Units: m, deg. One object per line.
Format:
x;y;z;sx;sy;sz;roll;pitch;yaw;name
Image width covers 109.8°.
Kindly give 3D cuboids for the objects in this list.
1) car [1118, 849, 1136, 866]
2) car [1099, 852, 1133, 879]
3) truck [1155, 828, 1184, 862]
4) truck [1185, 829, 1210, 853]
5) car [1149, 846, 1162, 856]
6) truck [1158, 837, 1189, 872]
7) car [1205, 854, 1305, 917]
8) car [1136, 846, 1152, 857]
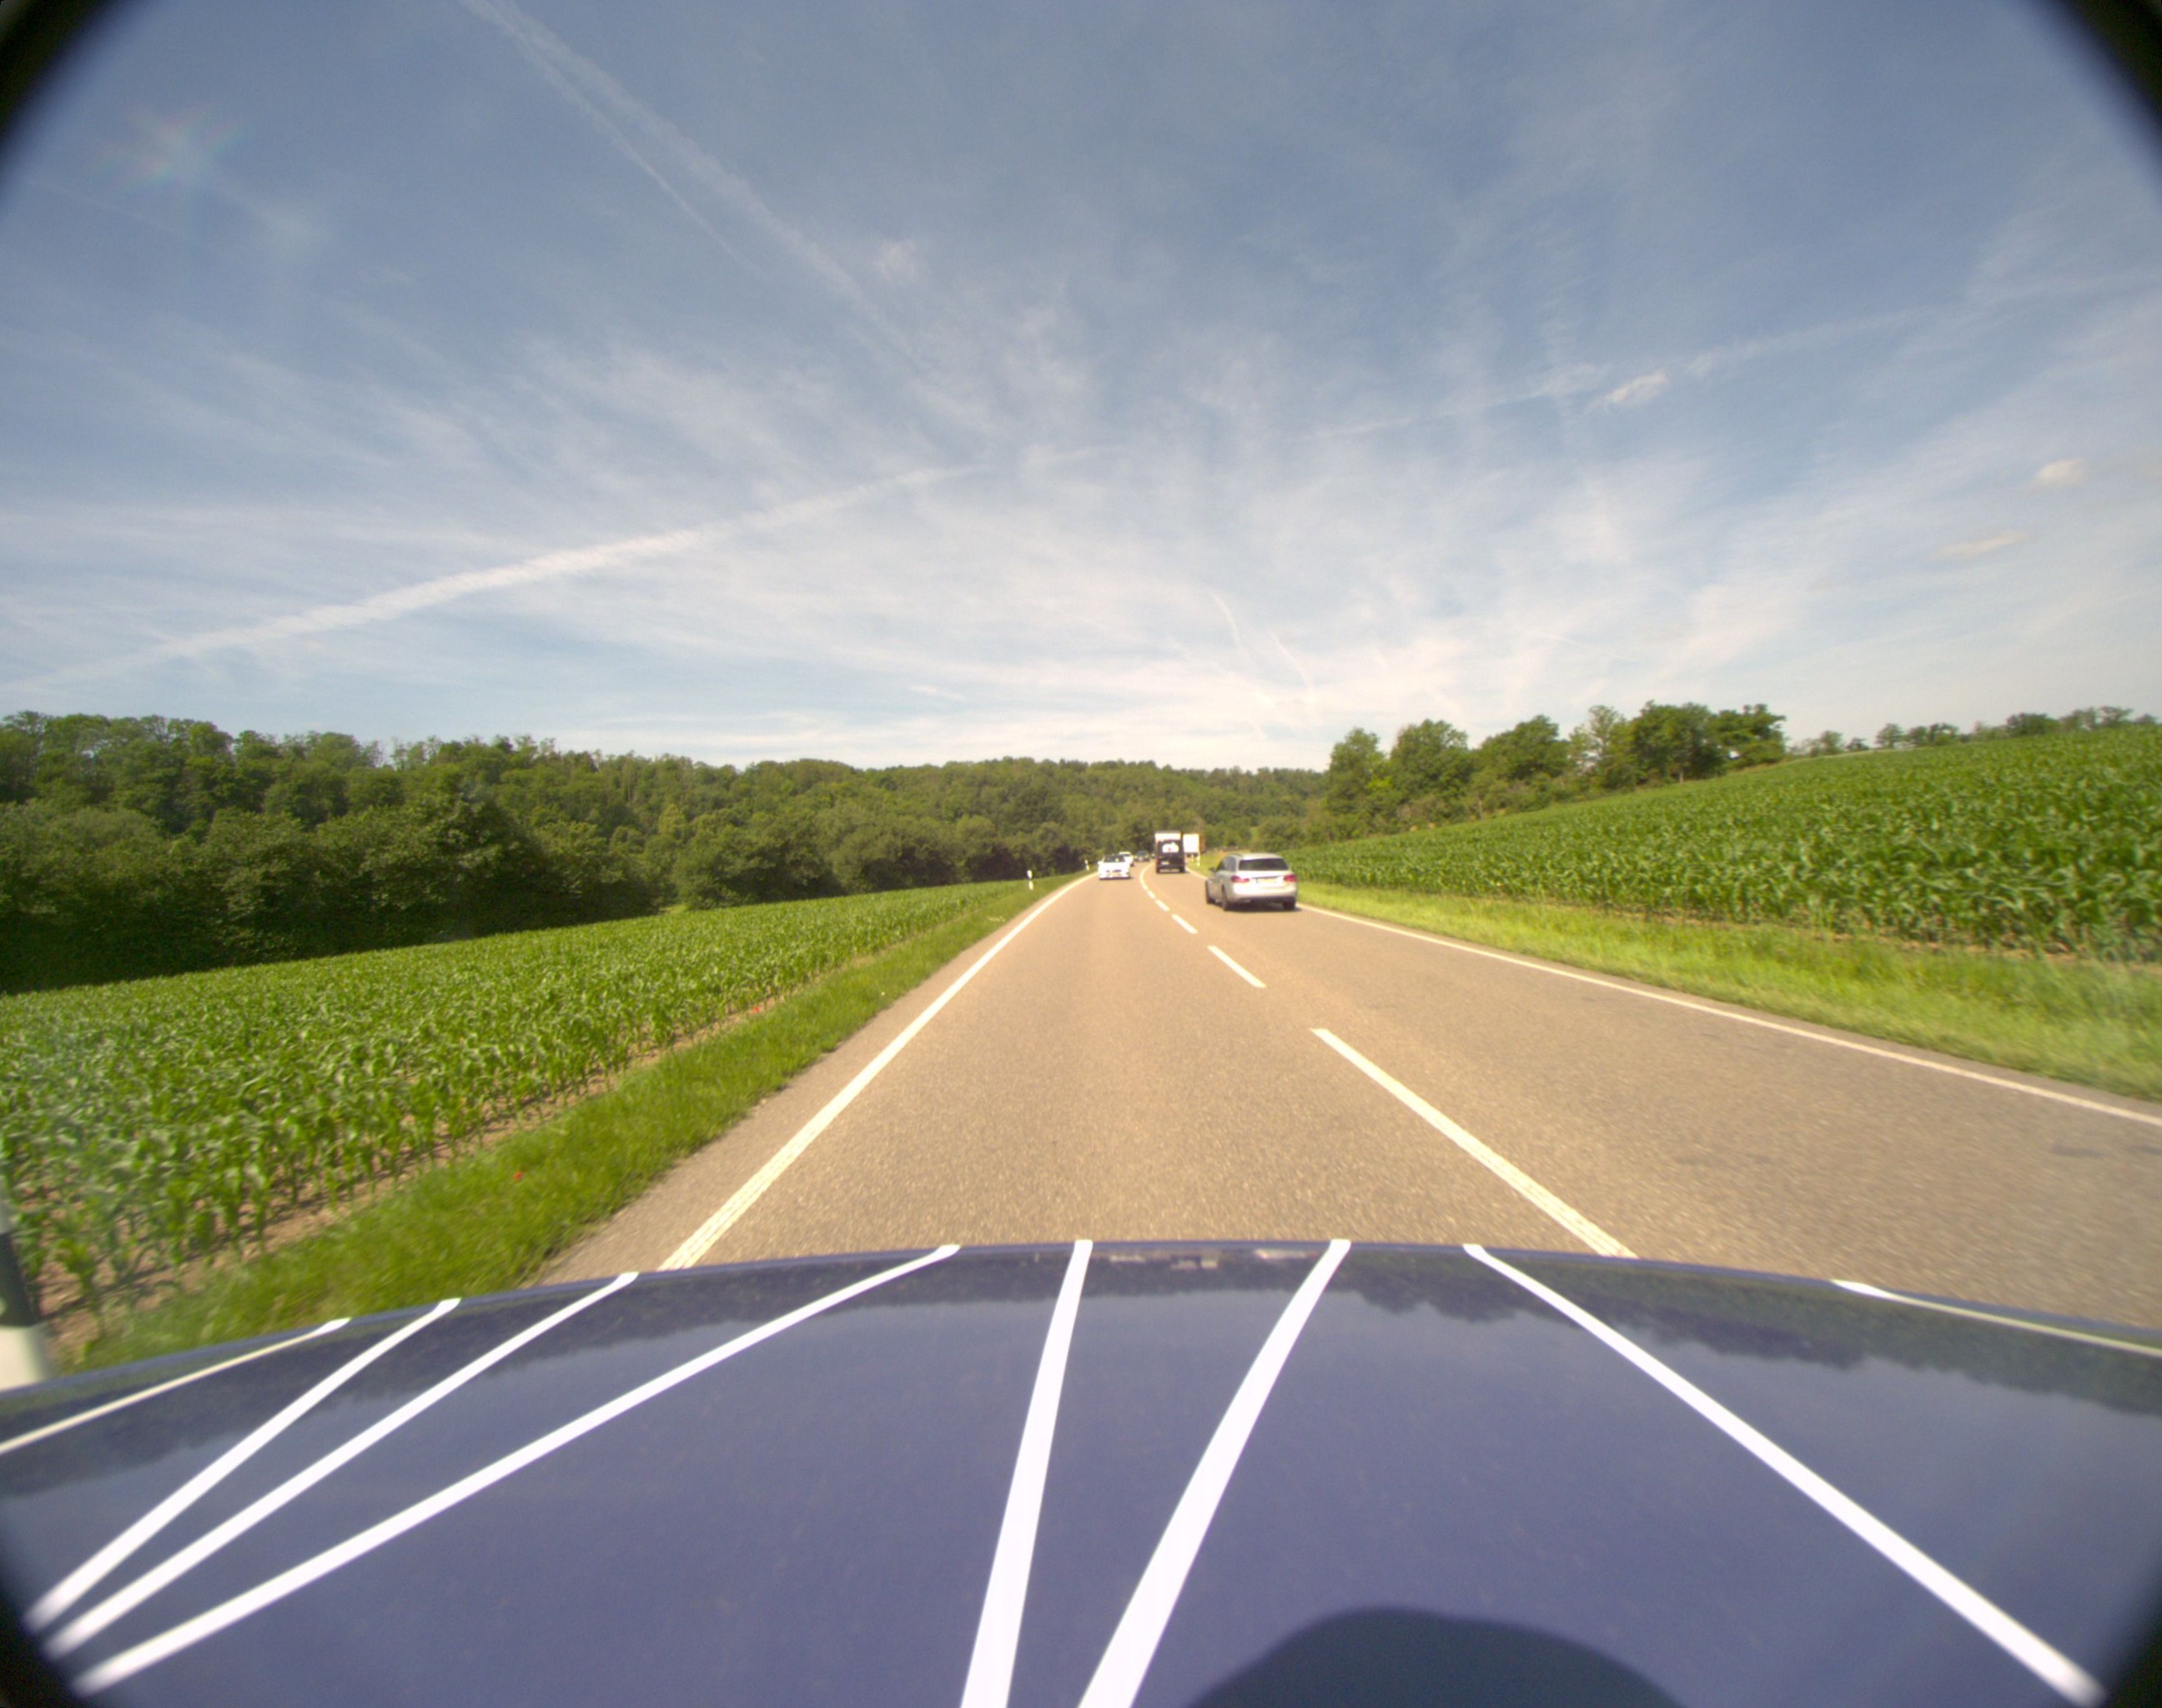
4.798;0.330;79.015;1.717;1.523;4.000;-2;2;5;car
2.142;0.648;45.761;1.742;1.445;4.037;-2;1;6;car
9.962;-1.021;86.215;2.747;3.558;9.728;-2;1;4;truck
21.758;-2.401;141.155;2.775;3.975;17.043;-2;1;14;truck
12.218;-0.529;123.861;1.741;1.445;4.038;-2;1;10;car
6.620;-0.013;54.621;2.014;2.306;5.193;-2;1;5;truck
4.499;0.748;20.271;1.732;1.432;4.176;-2;0;1;car
8.708;-0.387;105.031;1.741;1.445;4.038;-2;1;11;car
